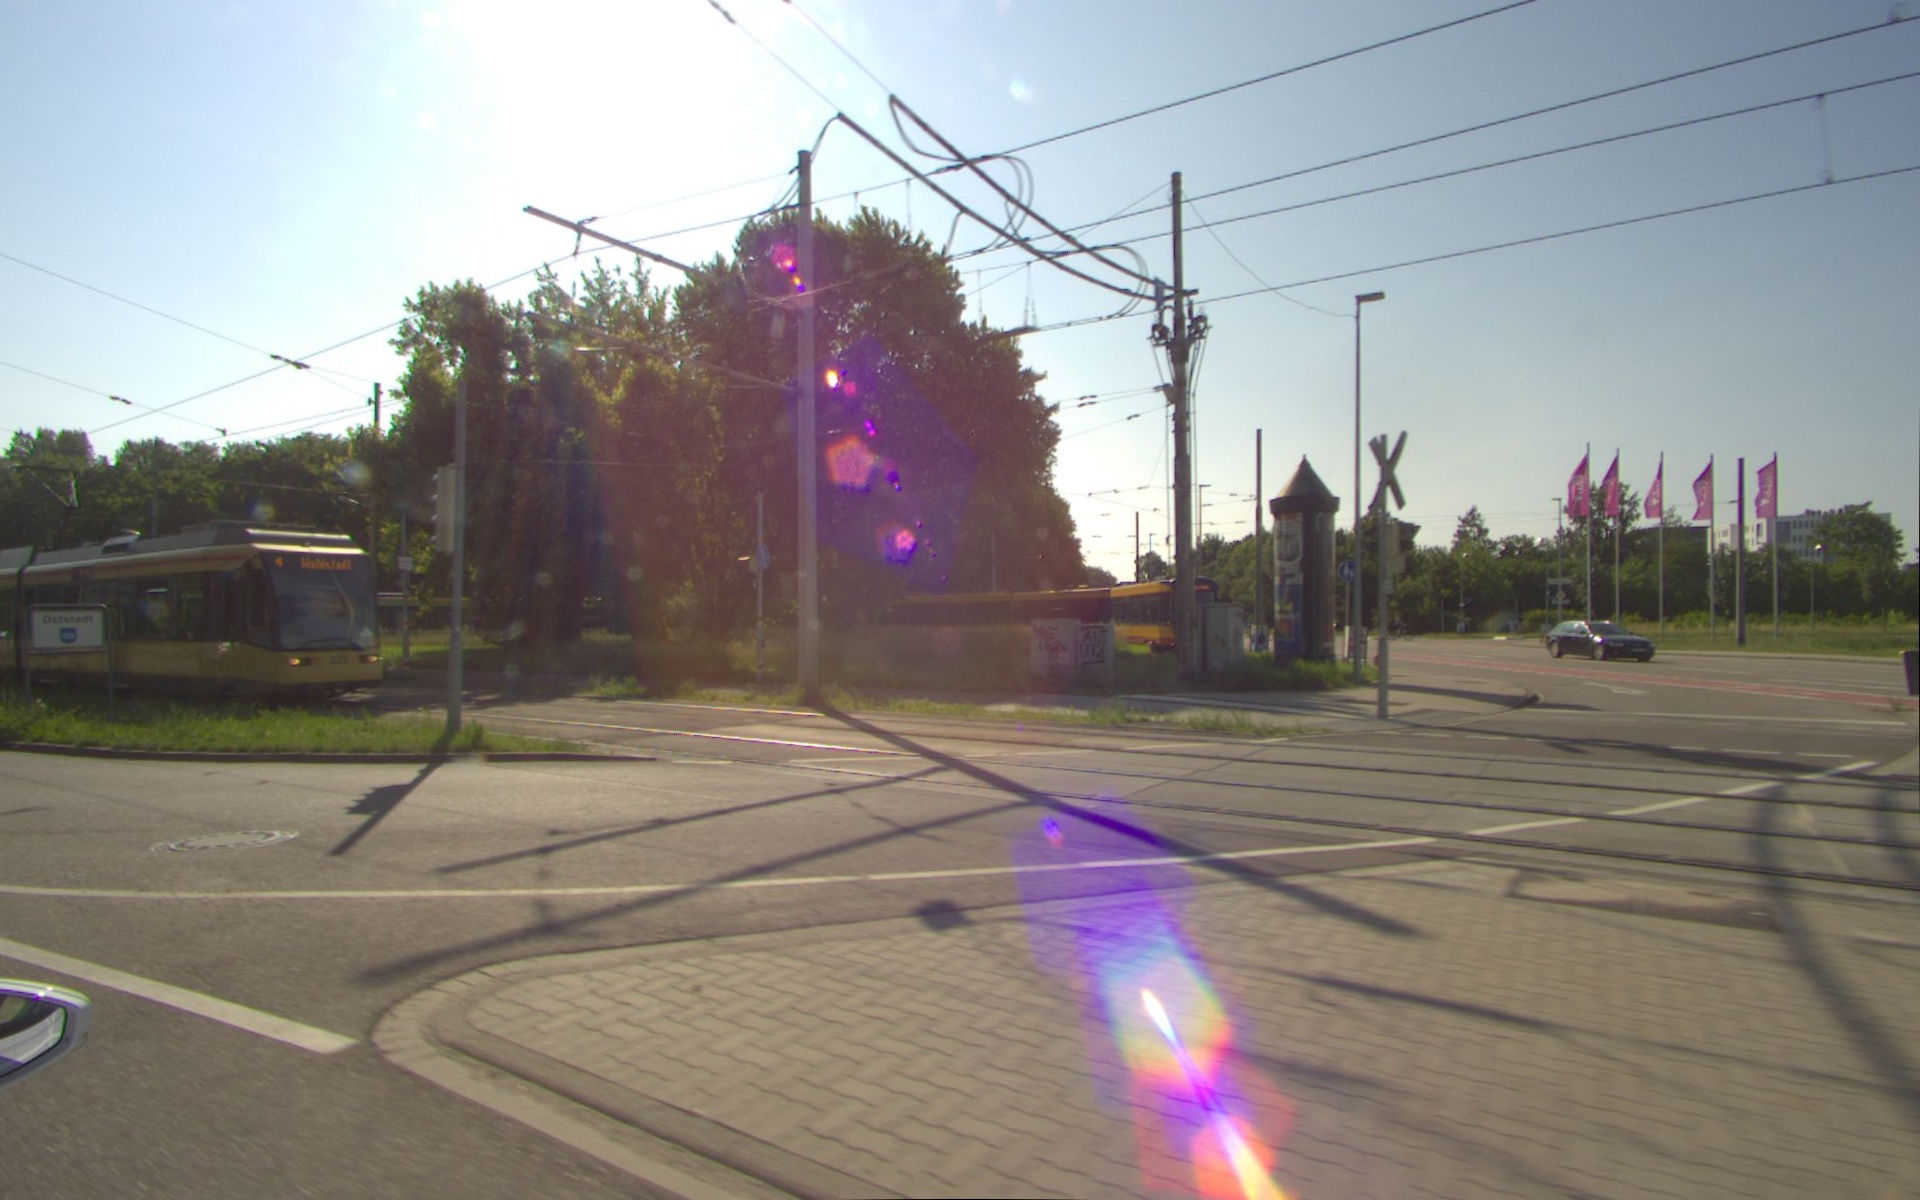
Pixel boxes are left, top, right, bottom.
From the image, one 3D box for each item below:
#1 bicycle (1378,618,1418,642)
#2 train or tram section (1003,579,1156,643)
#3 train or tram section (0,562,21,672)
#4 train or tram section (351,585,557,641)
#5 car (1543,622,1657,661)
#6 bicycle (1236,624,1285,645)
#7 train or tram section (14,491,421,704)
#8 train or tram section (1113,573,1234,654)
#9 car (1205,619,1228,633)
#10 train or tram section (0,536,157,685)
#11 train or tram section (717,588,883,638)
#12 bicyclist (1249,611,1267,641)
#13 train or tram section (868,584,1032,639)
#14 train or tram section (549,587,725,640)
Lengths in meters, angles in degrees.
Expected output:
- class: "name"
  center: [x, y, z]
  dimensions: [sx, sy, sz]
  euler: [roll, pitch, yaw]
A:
- class: "bicycle"
  center: [31.344, 2.142, 71.695]
  dimensions: [2.563, 1.735, 0.795]
  euler: [0, 0, 12]
- class: "train or tram section"
  center: [7.142, 0.746, 62.609]
  dimensions: [3.009, 3.626, 12.172]
  euler: [0, -1, -29]
- class: "train or tram section"
  center: [-37.434, 0.690, 35.515]
  dimensions: [14.761, 3.525, 2.679]
  euler: [-1, -2, 33]
- class: "train or tram section"
  center: [-34.248, 0.892, 68.356]
  dimensions: [12.251, 3.626, 3.041]
  euler: [0, -1, -27]
- class: "car"
  center: [23.886, 1.525, 37.587]
  dimensions: [1.715, 1.352, 4.308]
  euler: [0, -1, 3]
- class: "bicycle"
  center: [21.250, 2.439, 70.869]
  dimensions: [3.167, 1.472, 1.131]
  euler: [0, -1, 9]
- class: "train or tram section"
  center: [-16.700, 0.136, 21.909]
  dimensions: [12.773, 3.664, 2.791]
  euler: [-1, -2, 33]
- class: "train or tram section"
  center: [10.465, 0.688, 50.796]
  dimensions: [2.995, 3.626, 11.852]
  euler: [0, -1, -3]
- class: "car"
  center: [28.408, 2.878, 111.068]
  dimensions: [1.820, 1.583, 4.204]
  euler: [0, -1, 4]
- class: "train or tram section"
  center: [-26.661, 0.408, 28.419]
  dimensions: [11.100, 3.599, 2.744]
  euler: [-1, -2, 33]
- class: "train or tram section"
  center: [-11.839, 1.003, 75.014]
  dimensions: [11.992, 3.626, 3.054]
  euler: [0, 0, -2]
- class: "bicyclist"
  center: [21.103, 1.848, 70.917]
  dimensions: [1.078, 2.039, 1.140]
  euler: [0, -1, 9]
- class: "train or tram section"
  center: [-0.857, 0.861, 71.354]
  dimensions: [12.058, 3.626, 3.037]
  euler: [-1, -1, 33]
- class: "train or tram section"
  center: [-23.535, 0.986, 73.286]
  dimensions: [12.029, 3.626, 3.045]
  euler: [0, -1, -22]
